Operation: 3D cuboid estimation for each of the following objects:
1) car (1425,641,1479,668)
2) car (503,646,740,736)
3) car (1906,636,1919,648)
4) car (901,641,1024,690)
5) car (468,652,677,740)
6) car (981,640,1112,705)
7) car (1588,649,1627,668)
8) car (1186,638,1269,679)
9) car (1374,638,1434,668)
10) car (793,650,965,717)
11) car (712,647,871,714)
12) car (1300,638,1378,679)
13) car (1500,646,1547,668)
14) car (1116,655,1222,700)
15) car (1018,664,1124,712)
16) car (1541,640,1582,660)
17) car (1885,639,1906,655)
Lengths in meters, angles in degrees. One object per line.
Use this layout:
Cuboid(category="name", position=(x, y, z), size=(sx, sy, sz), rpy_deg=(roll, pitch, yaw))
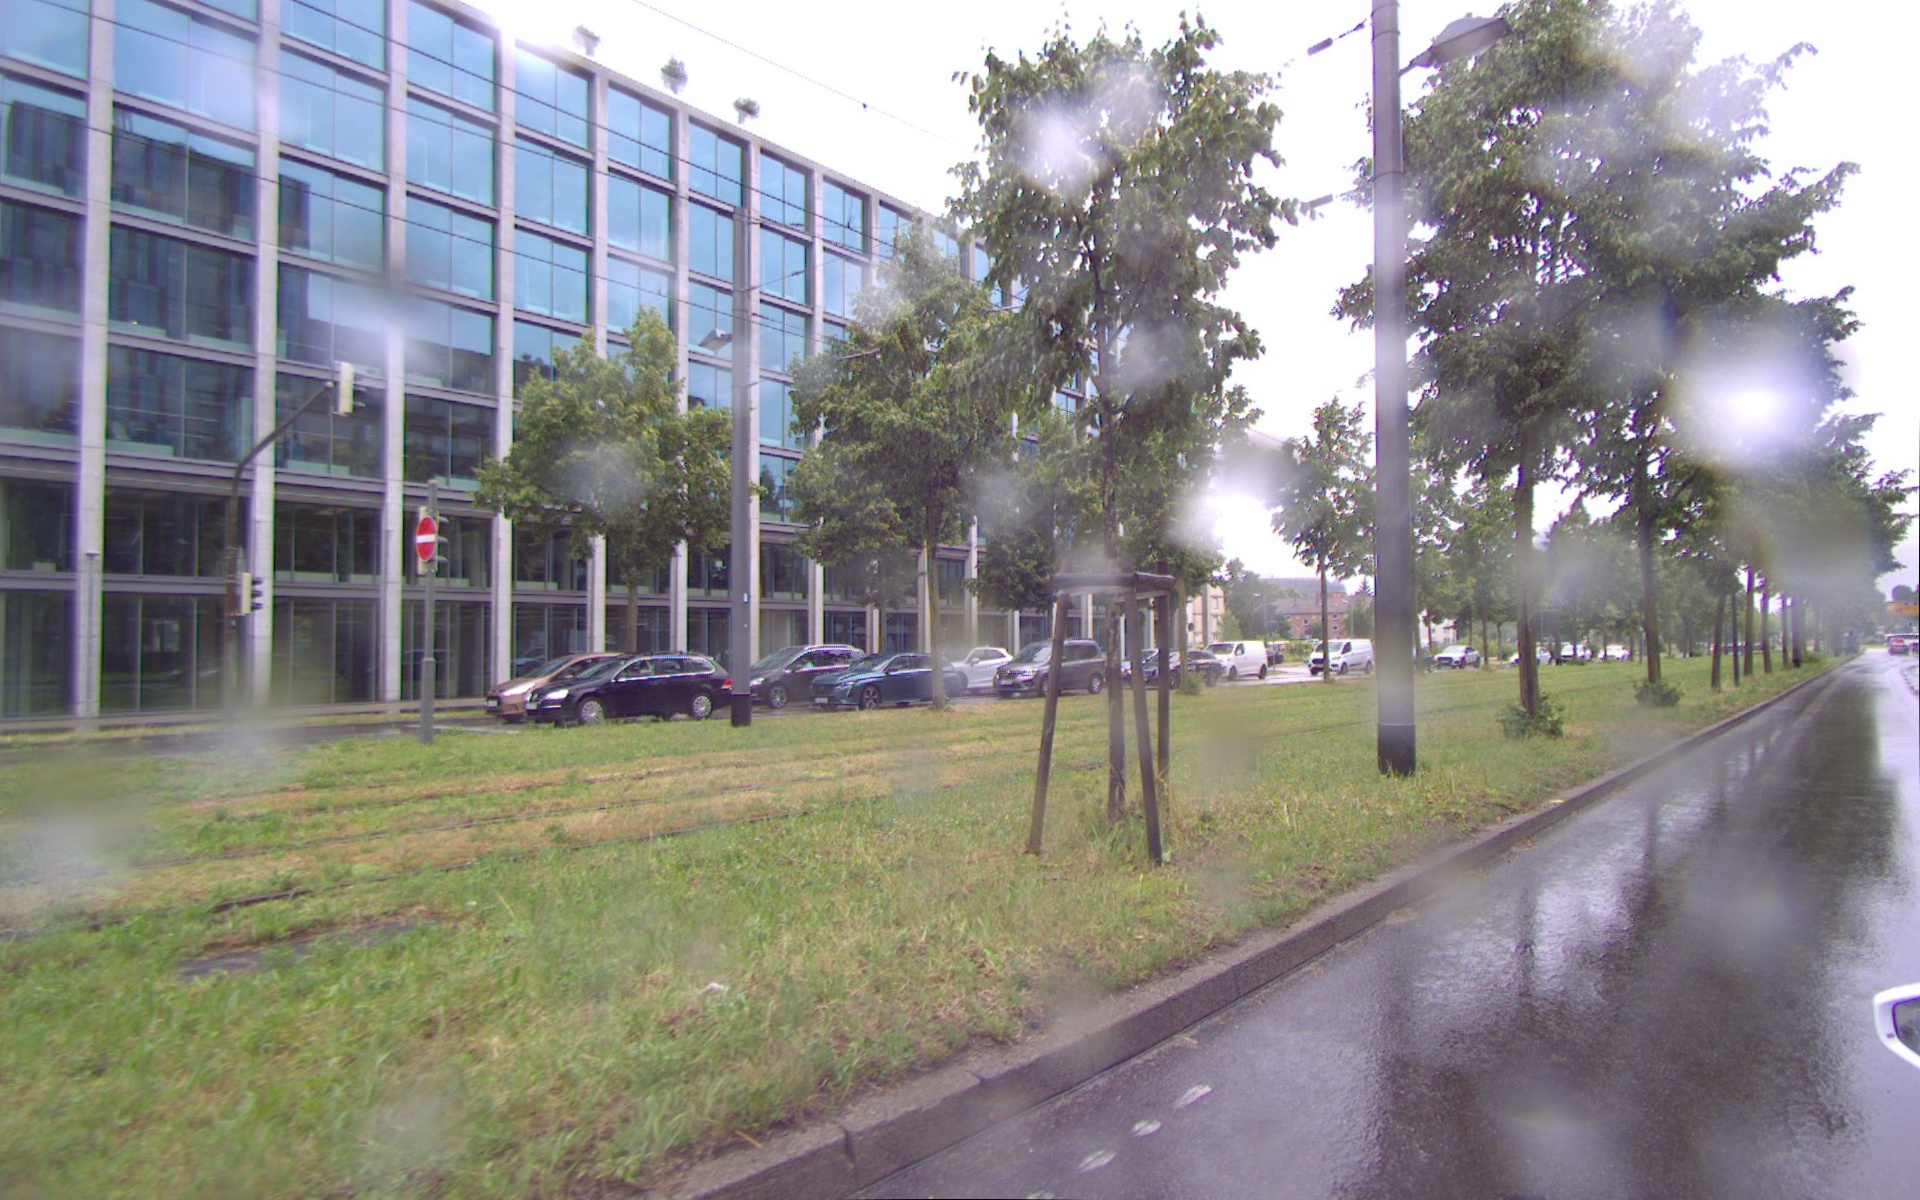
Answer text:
Cuboid(category="car", position=(34.377, 3.769, 70.128), size=(4.546, 1.772, 1.932), rpy_deg=(2, -3, -44))
Cuboid(category="car", position=(-7.135, 1.852, 21.520), size=(1.929, 1.579, 4.439), rpy_deg=(-2, -2, 42))
Cuboid(category="car", position=(170.707, 7.532, 179.774), size=(1.974, 2.040, 3.974), rpy_deg=(-2, -1, 45))
Cuboid(category="car", position=(0.157, 2.208, 34.491), size=(1.928, 1.404, 4.251), rpy_deg=(-2, -1, 40))
Cuboid(category="car", position=(-9.142, 2.188, 23.962), size=(1.929, 1.716, 4.250), rpy_deg=(-2, -1, 41))
Cuboid(category="car", position=(2.885, 2.296, 32.688), size=(1.929, 1.873, 4.518), rpy_deg=(-2, -2, 42))
Cuboid(category="car", position=(58.614, 5.262, 90.897), size=(4.797, 1.480, 1.932), rpy_deg=(-1, -1, -44))
Cuboid(category="car", position=(13.059, 2.802, 48.871), size=(1.928, 1.674, 5.004), rpy_deg=(-2, -1, 40))
Cuboid(category="car", position=(25.281, 2.998, 57.142), size=(1.930, 1.514, 3.939), rpy_deg=(-2, -1, 43))
Cuboid(category="car", position=(-2.061, 2.150, 26.599), size=(1.929, 1.404, 4.449), rpy_deg=(-3, -2, 41))
Cuboid(category="car", position=(-4.749, 2.229, 28.736), size=(1.928, 1.560, 4.251), rpy_deg=(-2, -1, 40))
Cuboid(category="car", position=(21.880, 3.316, 57.900), size=(2.244, 2.033, 5.340), rpy_deg=(-2, -1, 44))
Cuboid(category="car", position=(40.462, 4.055, 72.063), size=(1.929, 1.533, 4.551), rpy_deg=(-2, -3, 42))
Cuboid(category="car", position=(8.034, 2.907, 38.316), size=(1.929, 1.404, 4.579), rpy_deg=(-2, -1, 42))
Cuboid(category="car", position=(4.399, 3.386, 39.348), size=(1.837, 1.465, 4.602), rpy_deg=(-2, -1, 40))
Cuboid(category="car", position=(46.990, 3.889, 78.438), size=(1.929, 1.471, 4.551), rpy_deg=(-2, -3, 42))
Cuboid(category="car", position=(132.876, 6.626, 142.636), size=(1.974, 2.040, 3.974), rpy_deg=(-2, -1, 45))
